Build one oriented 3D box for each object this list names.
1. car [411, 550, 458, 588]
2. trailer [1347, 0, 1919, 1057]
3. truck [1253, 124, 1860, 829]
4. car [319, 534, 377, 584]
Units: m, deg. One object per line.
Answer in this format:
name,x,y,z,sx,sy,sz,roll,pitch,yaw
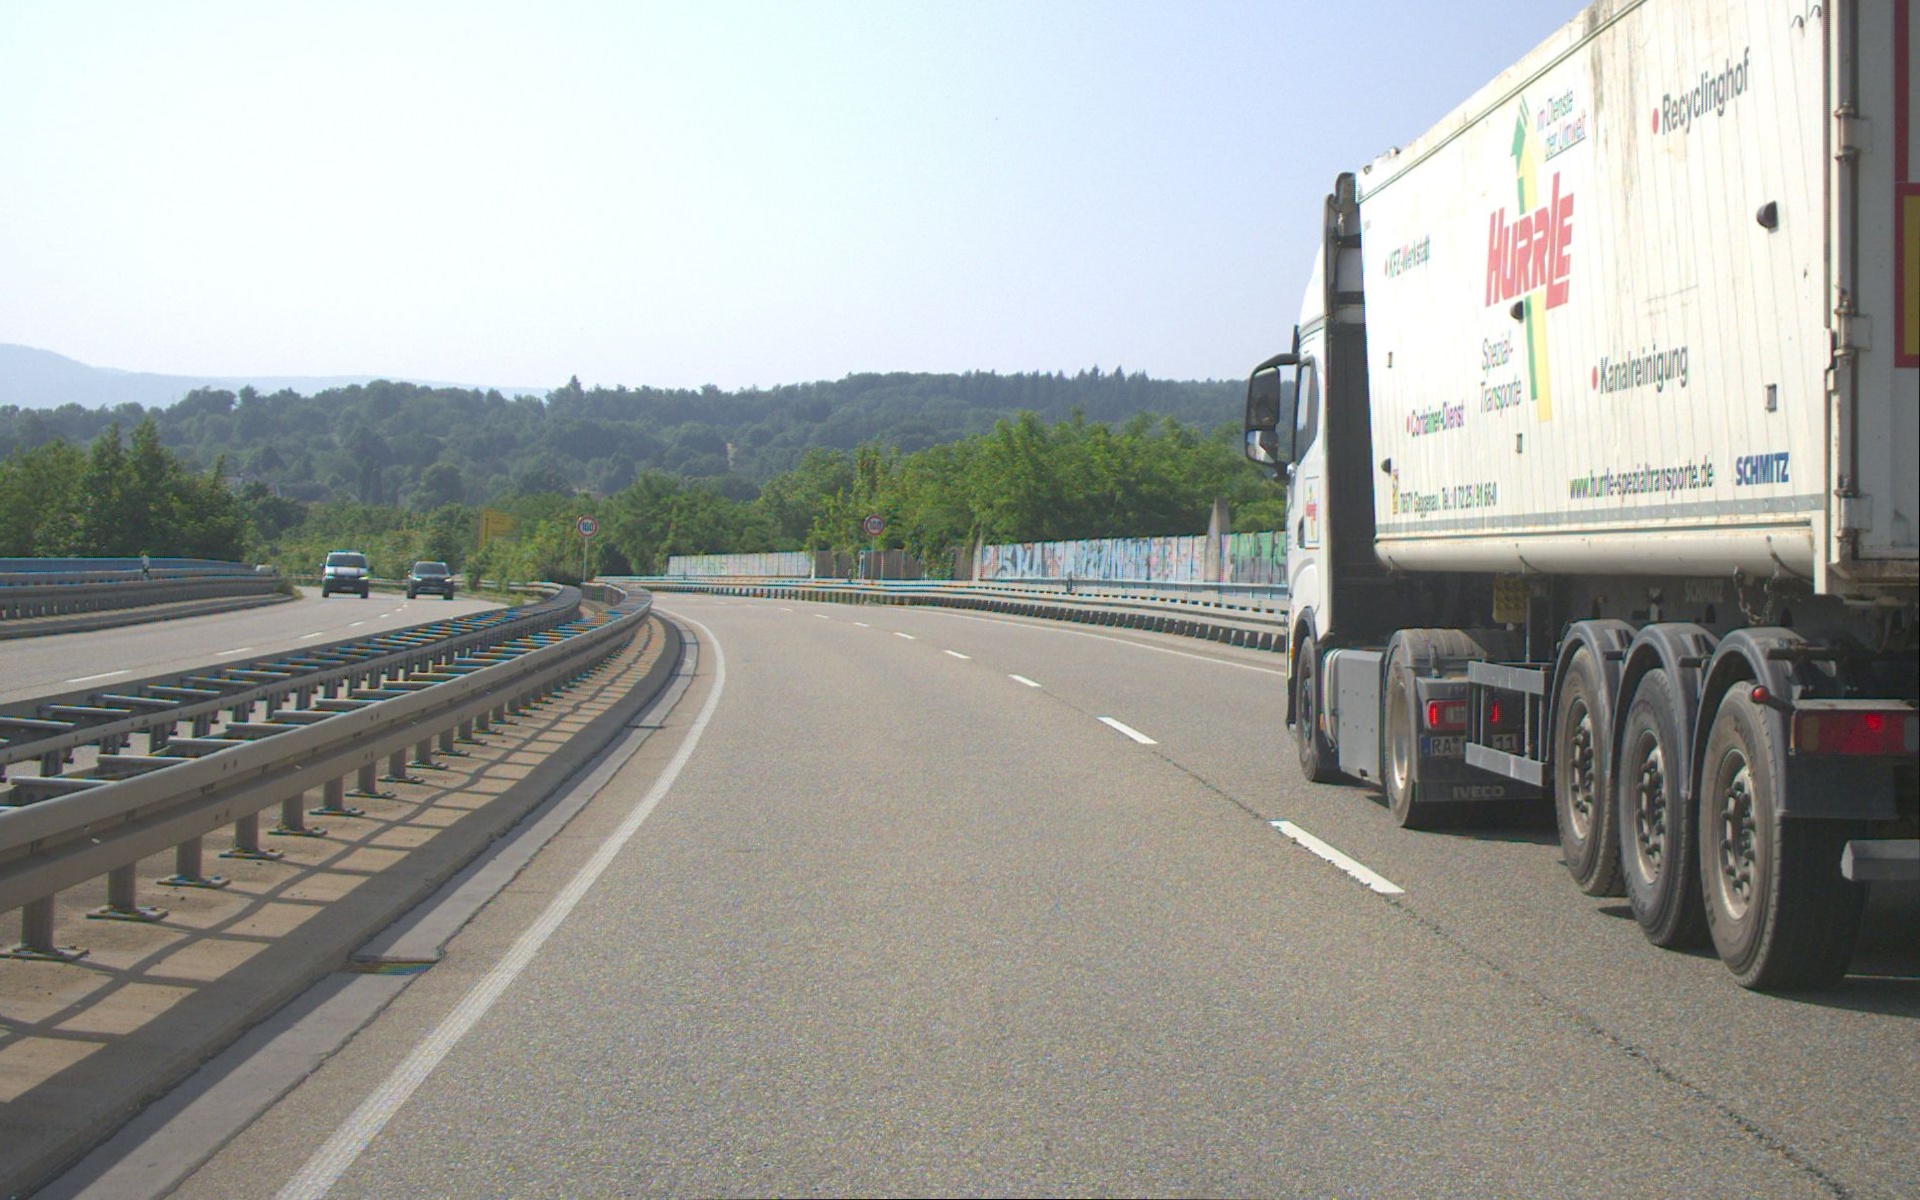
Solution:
car,-23.327,-1.394,152.709,1.864,1.602,4.419,1,1,-6
trailer,3.809,-0.625,15.453,2.679,3.893,9.673,1,1,-2
truck,3.556,-0.751,21.932,2.658,3.882,5.649,1,1,-2
car,-25.972,-1.750,146.027,2.038,1.999,5.309,1,1,-6
